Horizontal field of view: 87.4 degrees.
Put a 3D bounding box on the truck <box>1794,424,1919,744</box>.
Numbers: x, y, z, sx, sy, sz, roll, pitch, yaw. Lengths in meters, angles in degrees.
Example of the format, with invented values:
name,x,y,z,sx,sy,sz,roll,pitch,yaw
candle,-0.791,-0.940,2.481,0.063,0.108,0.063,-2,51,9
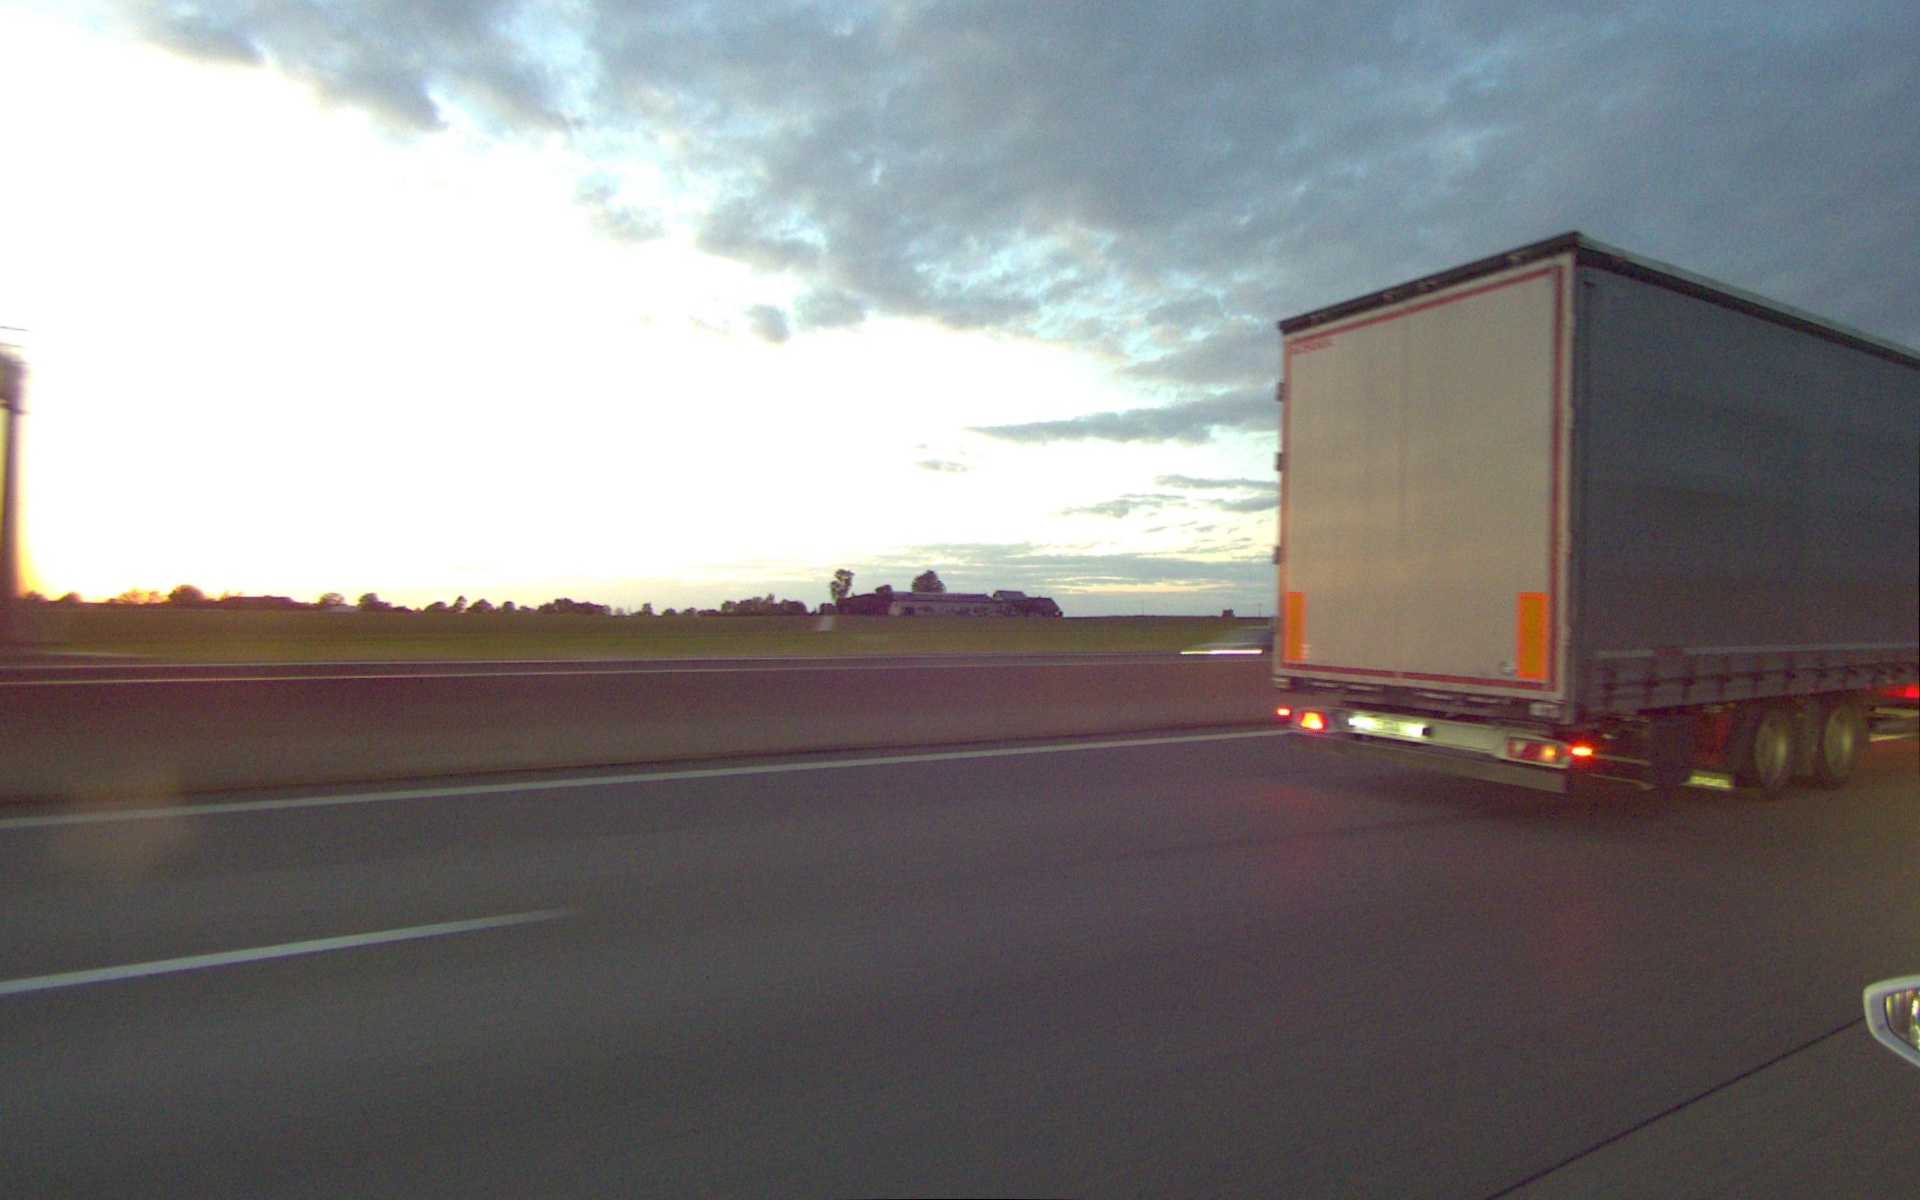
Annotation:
name,x,y,z,sx,sy,sz,roll,pitch,yaw
truck,15.058,-0.116,14.466,6.030,4.146,2.765,2,-1,-30

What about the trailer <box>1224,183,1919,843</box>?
name,x,y,z,sx,sy,sz,roll,pitch,yaw
trailer,9.205,-0.318,11.092,14.353,4.139,2.781,2,-1,-30
